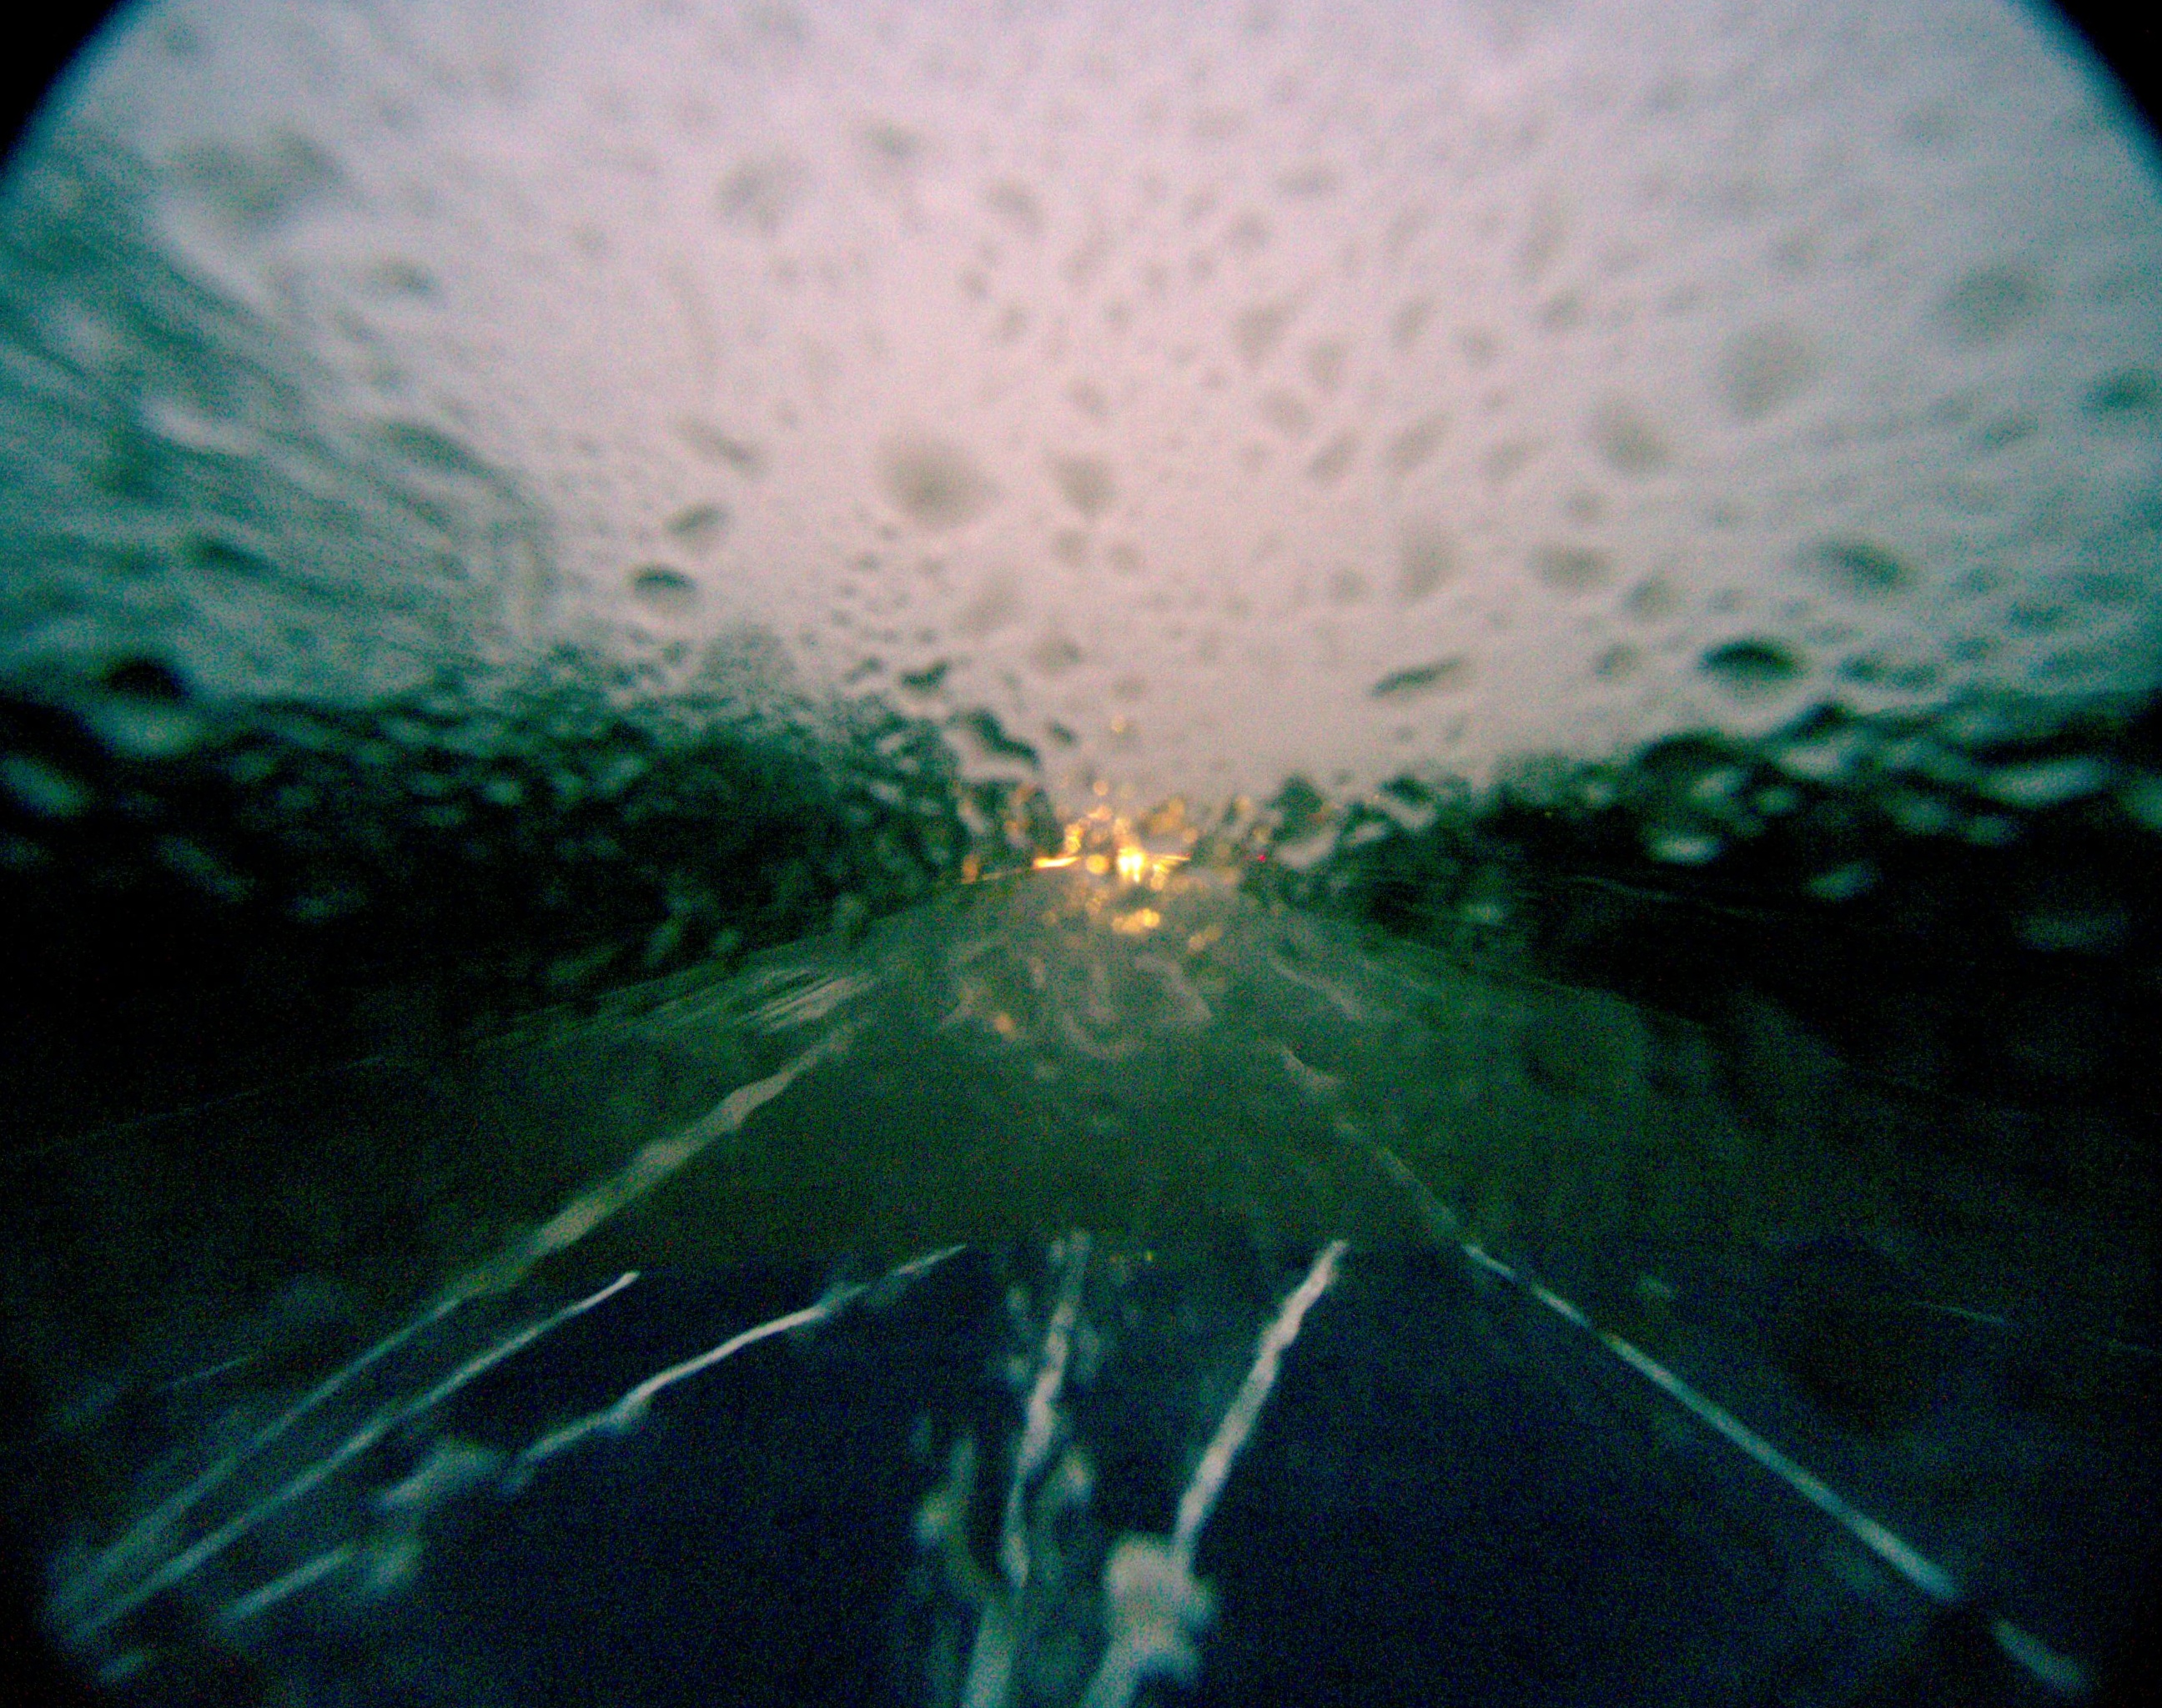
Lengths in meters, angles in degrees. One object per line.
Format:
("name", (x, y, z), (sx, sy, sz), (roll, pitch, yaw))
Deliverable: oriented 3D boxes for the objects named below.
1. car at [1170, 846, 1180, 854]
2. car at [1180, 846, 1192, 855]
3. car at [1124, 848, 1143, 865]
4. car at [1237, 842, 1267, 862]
("car", (20.078, -0.865, 162.596), (1.707, 1.466, 4.366), (-2, 1, 3))
("car", (18.732, -0.611, 135.444), (1.707, 1.466, 4.366), (-2, 1, 3))
("car", (6.793, 0.281, 98.687), (1.998, 2.002, 4.000), (-4, 0, 1))
("car", (15.636, -0.206, 69.659), (1.767, 1.617, 4.527), (-4, 0, 2))
